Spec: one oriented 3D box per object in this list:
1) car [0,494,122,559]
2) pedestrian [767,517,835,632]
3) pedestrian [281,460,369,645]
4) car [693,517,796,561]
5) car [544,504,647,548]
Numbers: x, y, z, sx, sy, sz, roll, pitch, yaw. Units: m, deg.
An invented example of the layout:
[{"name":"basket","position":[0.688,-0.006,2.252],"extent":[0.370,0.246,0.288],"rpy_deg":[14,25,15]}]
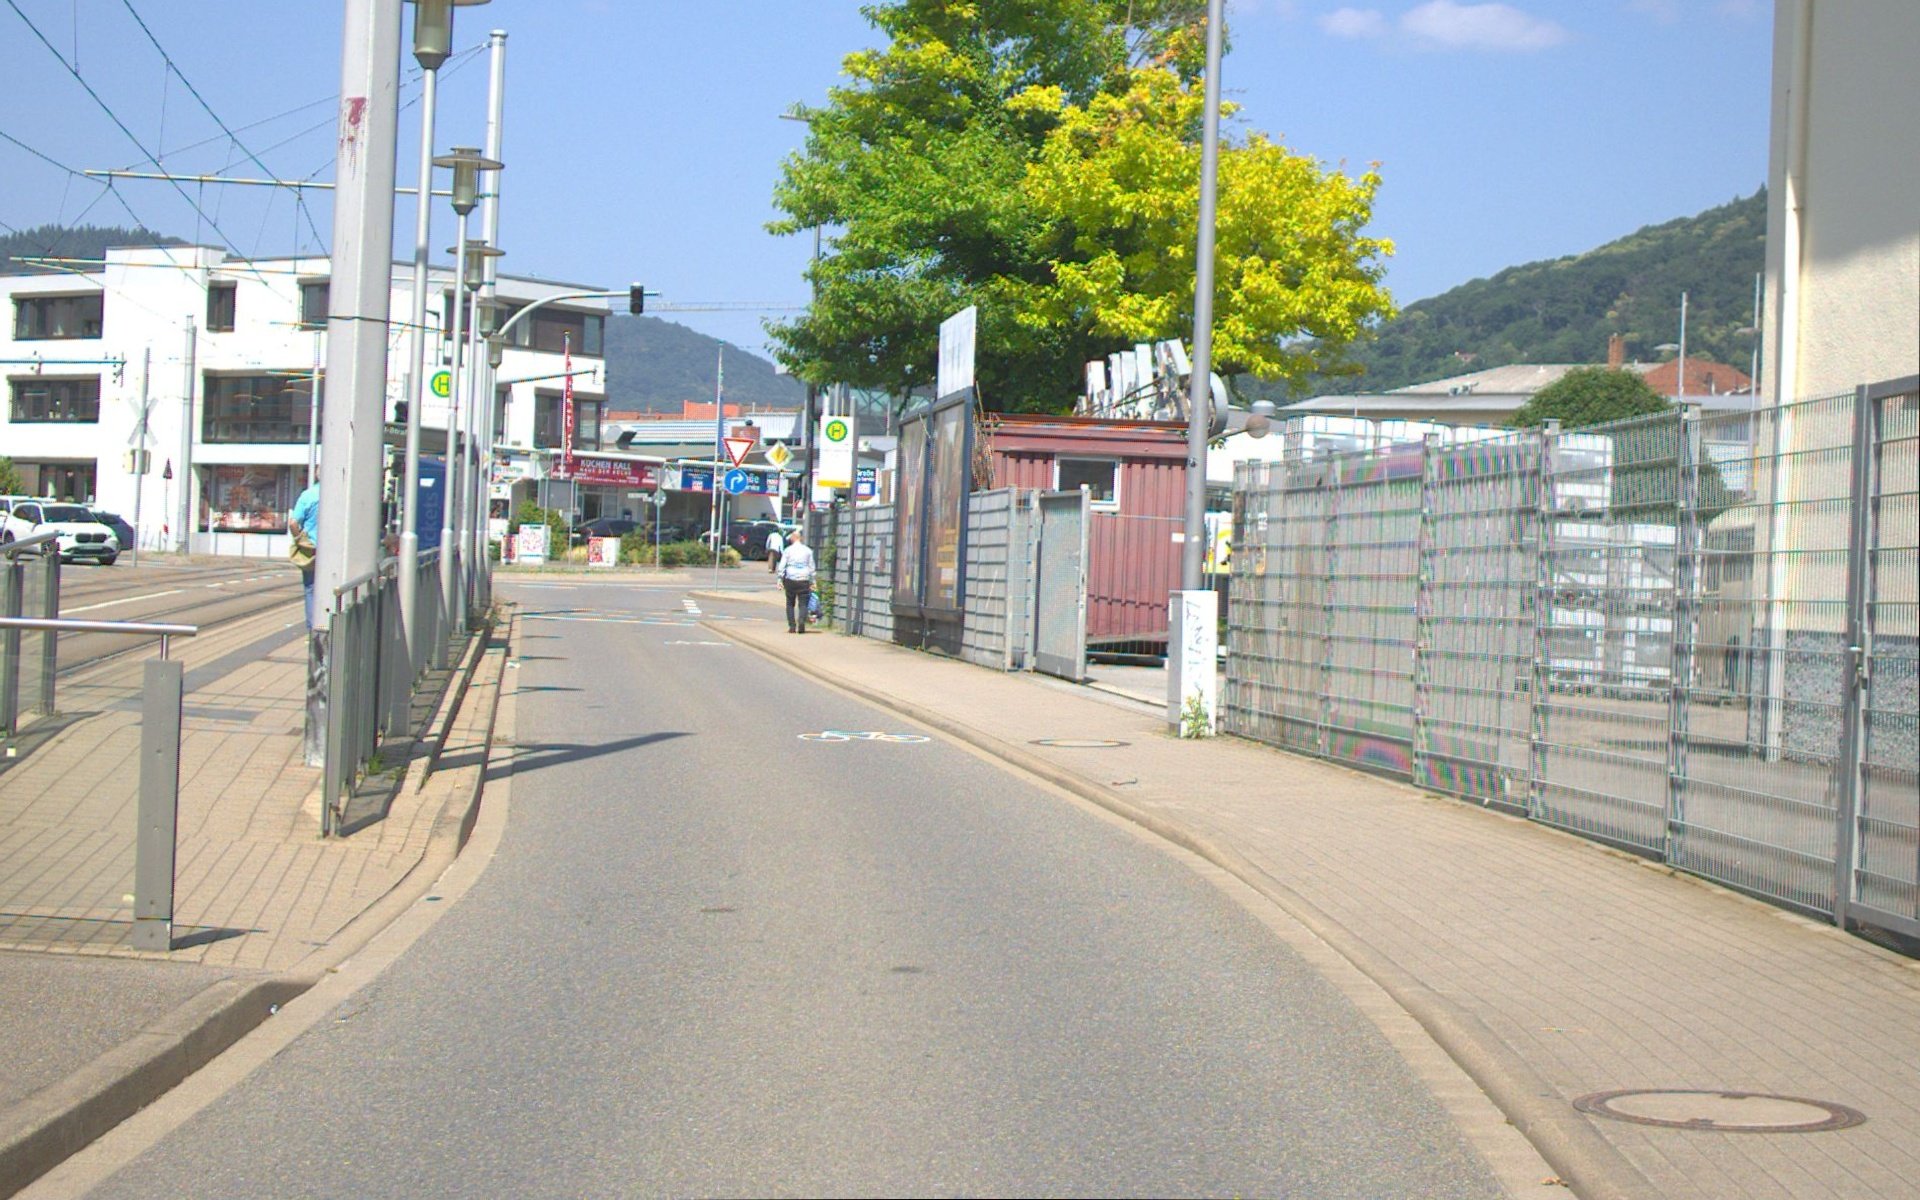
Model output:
[{"name":"car","position":[-24.140,-1.983,92.105],"extent":[1.756,1.641,3.761],"rpy_deg":[1,1,-40]},{"name":"pedestrian","position":[-2.583,-0.422,55.682],"extent":[0.940,1.781,0.953],"rpy_deg":[3,2,-8]},{"name":"pedestrian","position":[-6.088,-0.455,32.982],"extent":[0.743,1.734,0.727],"rpy_deg":[2,1,-7]},{"name":"car","position":[-8.604,-2.429,137.228],"extent":[1.863,1.656,3.991],"rpy_deg":[3,1,38]},{"name":"car","position":[-14.696,-2.994,138.640],"extent":[1.734,1.656,3.990],"rpy_deg":[3,1,40]}]
